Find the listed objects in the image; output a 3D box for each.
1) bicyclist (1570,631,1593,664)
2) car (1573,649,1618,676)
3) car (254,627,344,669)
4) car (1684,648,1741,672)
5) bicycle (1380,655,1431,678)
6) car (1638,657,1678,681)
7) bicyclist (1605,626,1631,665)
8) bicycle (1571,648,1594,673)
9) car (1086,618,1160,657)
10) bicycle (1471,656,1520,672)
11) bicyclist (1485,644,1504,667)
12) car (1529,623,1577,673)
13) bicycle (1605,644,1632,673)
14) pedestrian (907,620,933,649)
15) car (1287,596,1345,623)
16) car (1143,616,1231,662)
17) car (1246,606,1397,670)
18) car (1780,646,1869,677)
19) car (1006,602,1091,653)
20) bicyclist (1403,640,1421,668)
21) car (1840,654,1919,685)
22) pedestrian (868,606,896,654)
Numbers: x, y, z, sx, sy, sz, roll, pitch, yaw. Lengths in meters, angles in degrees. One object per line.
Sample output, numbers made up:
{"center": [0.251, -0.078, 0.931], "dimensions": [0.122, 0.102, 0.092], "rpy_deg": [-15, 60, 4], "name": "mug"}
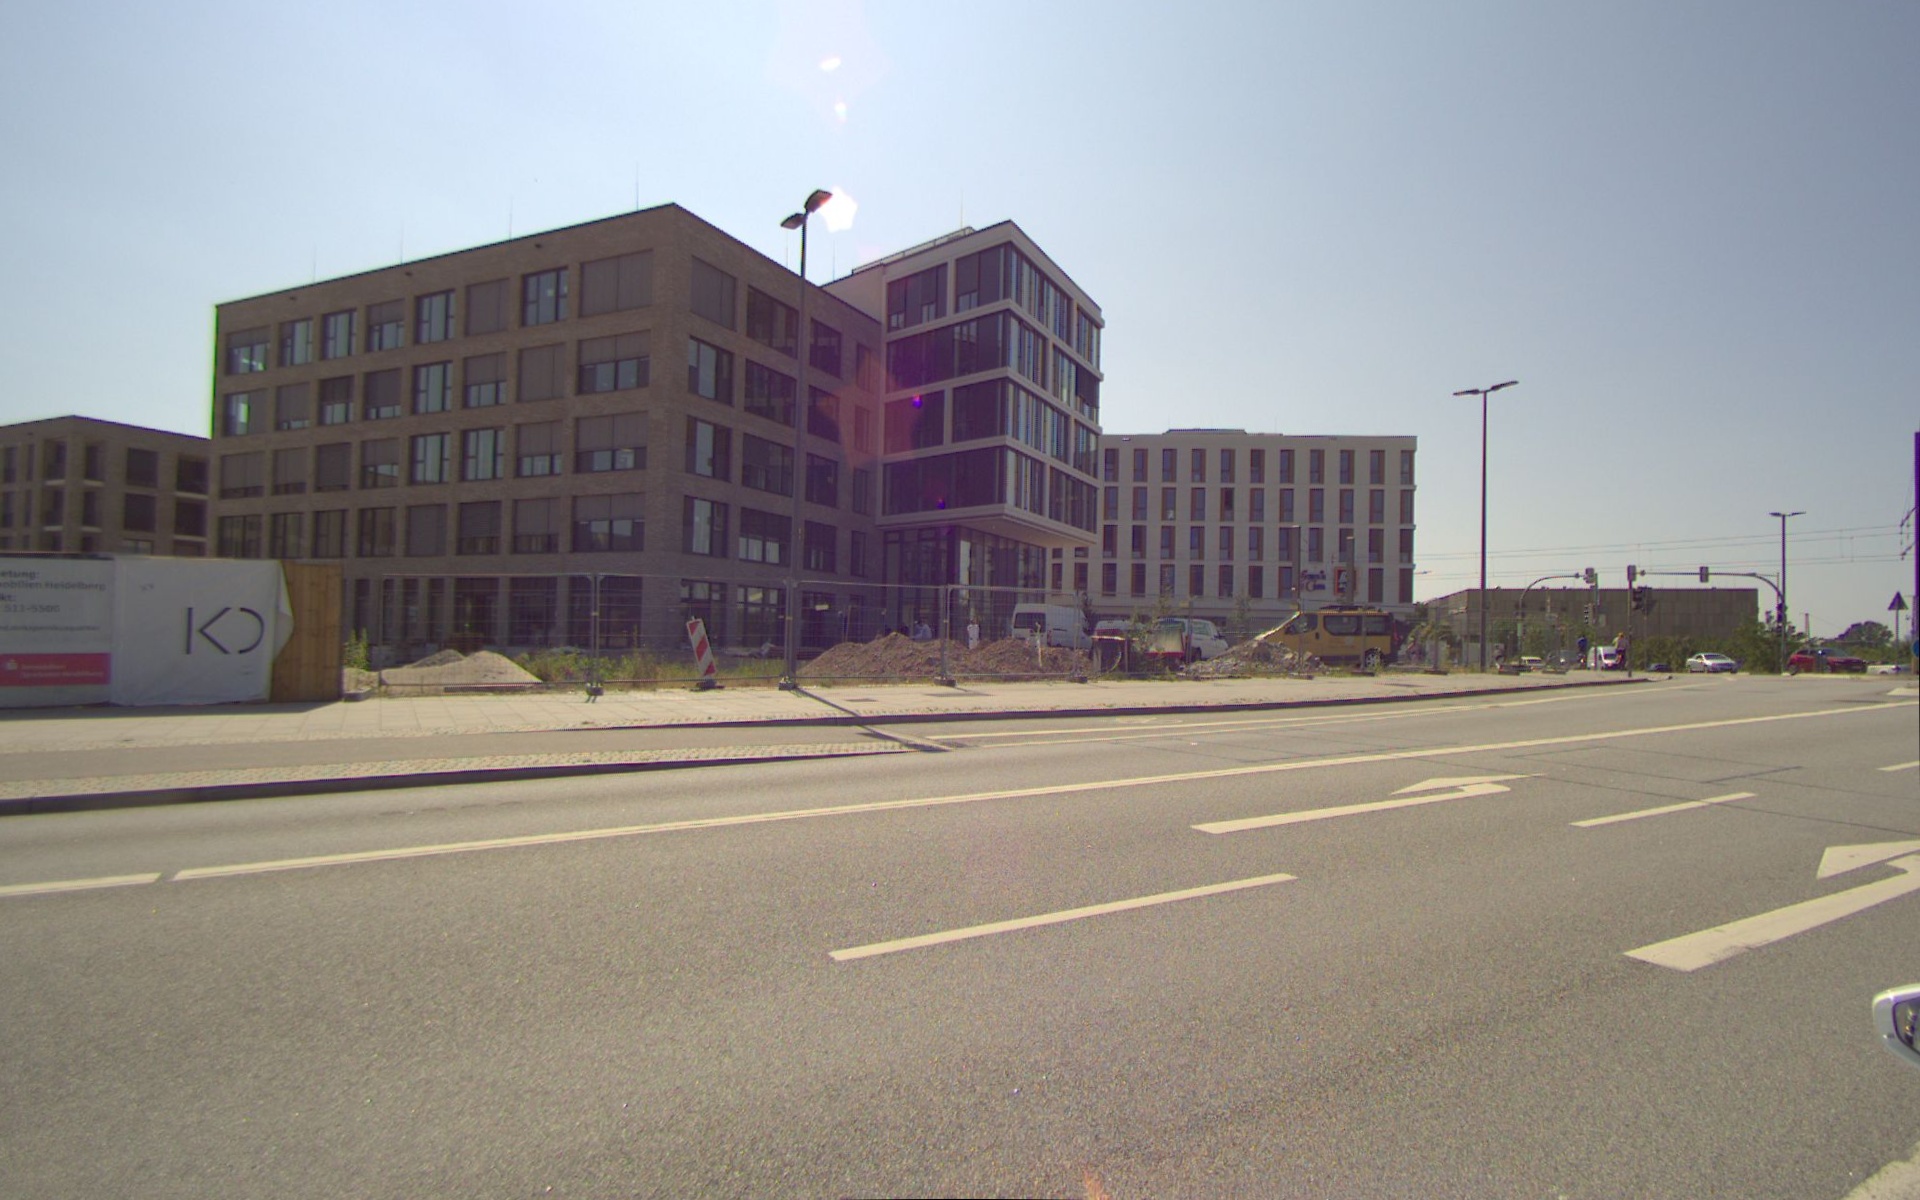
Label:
{"center": [30.868, 2.371, 49.879], "dimensions": [0.847, 1.580, 0.824], "rpy_deg": [2, 0, 26], "name": "bicyclist"}
{"center": [55.105, 5.391, 87.185], "dimensions": [1.577, 2.040, 4.002], "rpy_deg": [2, 0, 4], "name": "car"}
{"center": [-30.419, 2.176, 46.225], "dimensions": [3.708, 1.675, 1.834], "rpy_deg": [2, 0, 26], "name": "car"}
{"center": [50.781, 4.012, 67.853], "dimensions": [1.736, 1.350, 3.717], "rpy_deg": [2, 0, 14], "name": "car"}
{"center": [24.649, 3.676, 55.608], "dimensions": [2.473, 1.020, 0.603], "rpy_deg": [2, -5, 38], "name": "bicycle"}
{"center": [66.801, 6.609, 96.203], "dimensions": [1.960, 2.040, 4.002], "rpy_deg": [1, -1, 16], "name": "car"}
{"center": [28.251, 1.950, 43.131], "dimensions": [0.808, 1.589, 0.947], "rpy_deg": [2, 0, 28], "name": "bicyclist"}
{"center": [30.980, 3.011, 50.018], "dimensions": [0.715, 1.149, 2.530], "rpy_deg": [2, -1, 26], "name": "bicycle"}
{"center": [7.138, 1.600, 43.669], "dimensions": [1.773, 1.528, 3.991], "rpy_deg": [2, 0, 31], "name": "car"}
{"center": [28.160, 3.375, 52.857], "dimensions": [0.512, 0.701, 2.225], "rpy_deg": [2, -1, -42], "name": "bicycle"}
{"center": [28.084, 2.902, 52.801], "dimensions": [0.726, 1.190, 0.651], "rpy_deg": [4, -5, -43], "name": "bicyclist"}
{"center": [26.353, 2.084, 44.698], "dimensions": [1.645, 2.040, 3.994], "rpy_deg": [2, 0, 29], "name": "car"}
{"center": [28.254, 2.503, 43.121], "dimensions": [0.665, 1.142, 2.362], "rpy_deg": [2, 0, 27], "name": "bicycle"}
{"center": [-1.983, 1.684, 49.398], "dimensions": [1.099, 1.391, 0.742], "rpy_deg": [2, 0, -17], "name": "pedestrian"}
{"center": [29.018, 0.786, 81.973], "dimensions": [1.986, 2.040, 3.949], "rpy_deg": [2, 0, -43], "name": "car"}
{"center": [9.562, 1.615, 42.138], "dimensions": [1.969, 1.730, 4.546], "rpy_deg": [2, 0, 35], "name": "car"}
{"center": [12.051, 1.247, 33.772], "dimensions": [4.395, 1.915, 2.001], "rpy_deg": [2, 0, 8], "name": "car"}
{"center": [48.538, 3.442, 56.493], "dimensions": [1.651, 1.475, 4.001], "rpy_deg": [2, 0, 2], "name": "car"}
{"center": [4.010, 1.223, 44.704], "dimensions": [2.175, 2.083, 4.164], "rpy_deg": [2, 0, 30], "name": "car"}
{"center": [24.930, 2.970, 55.366], "dimensions": [0.649, 1.522, 0.840], "rpy_deg": [2, 0, 39], "name": "bicyclist"}
{"center": [60.337, 4.521, 65.776], "dimensions": [1.797, 1.666, 4.210], "rpy_deg": [2, 0, 3], "name": "car"}
{"center": [-3.366, 1.283, 43.388], "dimensions": [0.949, 2.040, 0.940], "rpy_deg": [2, 0, -17], "name": "pedestrian"}
